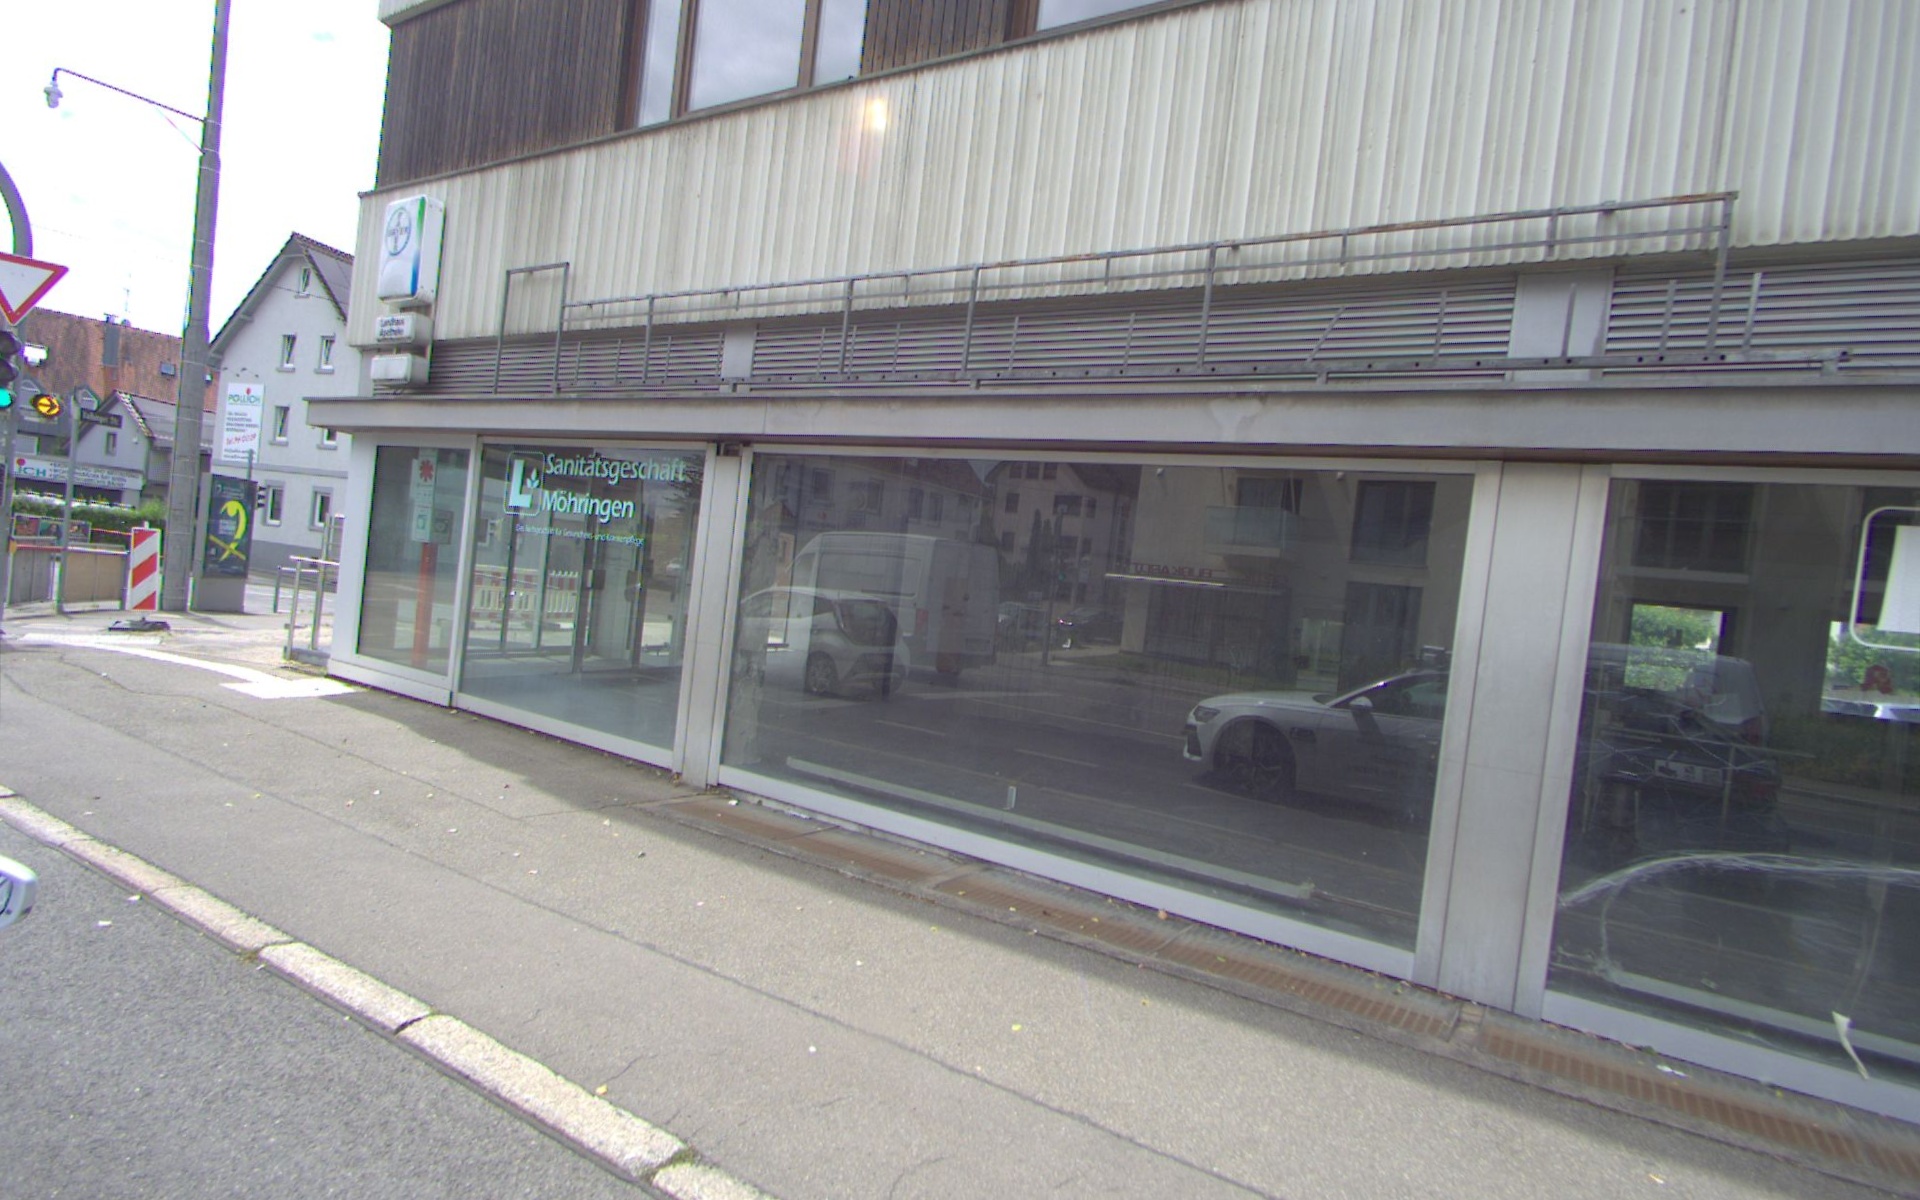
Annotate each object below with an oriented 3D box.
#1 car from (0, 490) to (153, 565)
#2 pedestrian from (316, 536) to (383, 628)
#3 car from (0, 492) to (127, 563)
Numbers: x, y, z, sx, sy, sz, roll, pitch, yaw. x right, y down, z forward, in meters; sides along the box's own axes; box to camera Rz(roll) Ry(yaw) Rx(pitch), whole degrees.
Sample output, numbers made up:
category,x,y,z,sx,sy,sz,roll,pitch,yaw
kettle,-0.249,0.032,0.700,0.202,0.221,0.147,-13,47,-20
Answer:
category,x,y,z,sx,sy,sz,roll,pitch,yaw
car,-30.859,-2.476,34.798,1.964,1.971,4.000,6,-2,23
pedestrian,-11.773,-0.347,19.395,0.831,1.657,0.864,7,-1,-41
car,-32.979,-2.647,36.226,1.964,2.037,4.000,6,-1,24
